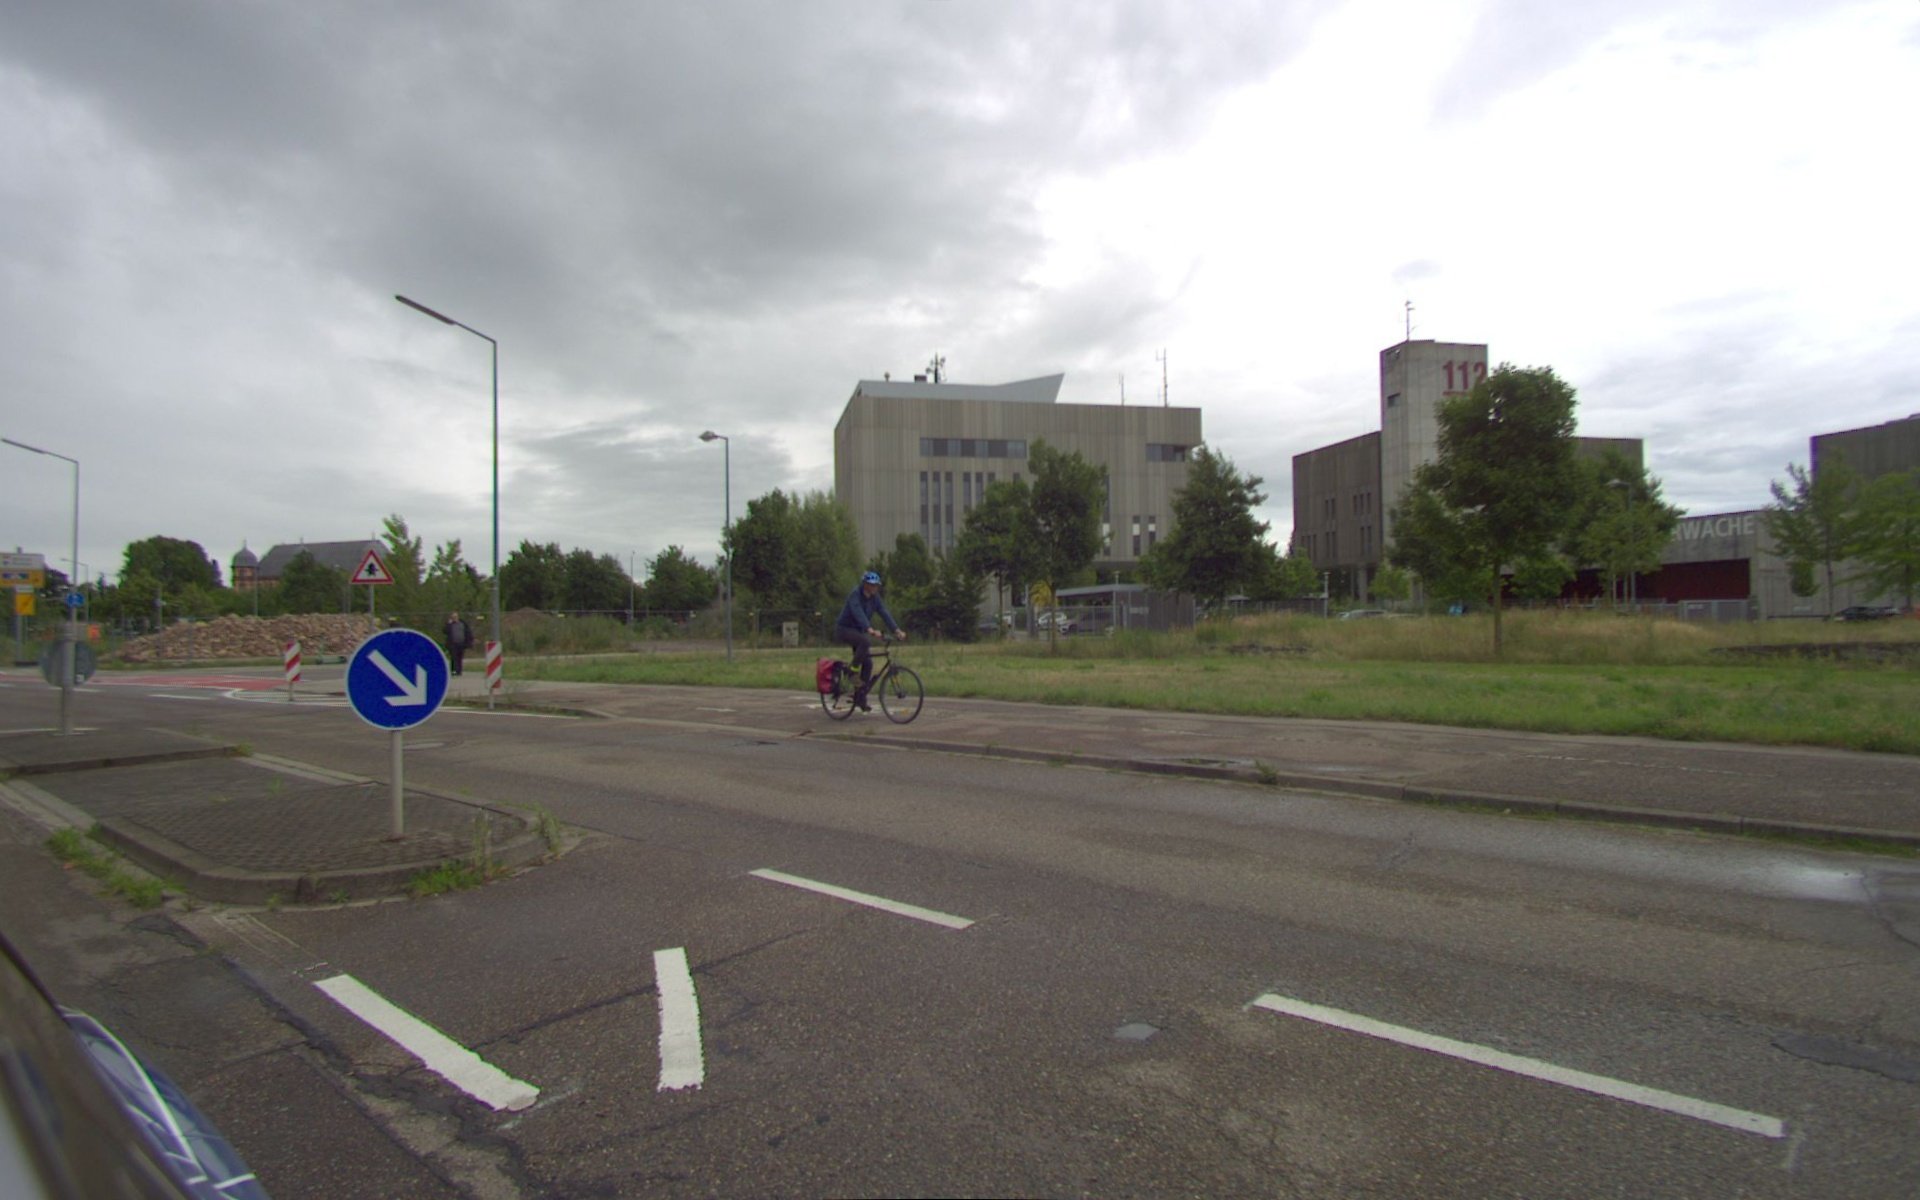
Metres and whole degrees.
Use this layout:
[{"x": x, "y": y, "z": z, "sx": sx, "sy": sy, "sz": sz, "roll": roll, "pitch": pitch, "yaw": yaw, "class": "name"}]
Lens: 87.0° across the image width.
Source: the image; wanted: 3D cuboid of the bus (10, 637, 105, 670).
[{"x": -109.444, "y": 6.488, "z": 122.889, "sx": 8.257, "sy": 3.676, "sz": 2.742, "roll": -2, "pitch": -2, "yaw": -14, "class": "bus"}]

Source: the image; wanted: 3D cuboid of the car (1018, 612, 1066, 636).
[{"x": 6.666, "y": 1.959, "z": 82.236, "sx": 3.421, "sy": 1.775, "sz": 1.732, "roll": -1, "pitch": -1, "yaw": -13, "class": "car"}]

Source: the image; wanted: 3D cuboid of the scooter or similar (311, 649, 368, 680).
[{"x": -25.393, "y": 2.646, "z": 41.443, "sx": 1.873, "sy": 1.151, "sz": 0.658, "roll": -2, "pitch": -1, "yaw": -8, "class": "scooter or similar"}]

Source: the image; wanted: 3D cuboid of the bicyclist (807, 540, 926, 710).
[{"x": -1.186, "y": 0.330, "z": 12.763, "sx": 1.176, "sy": 2.029, "sz": 0.853, "roll": -4, "pitch": -3, "yaw": 39, "class": "bicyclist"}]

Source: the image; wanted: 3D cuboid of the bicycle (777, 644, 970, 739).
[{"x": -1.128, "y": 1.126, "z": 12.710, "sx": 2.465, "sy": 1.060, "sz": 0.875, "roll": -4, "pitch": -3, "yaw": 38, "class": "bicycle"}]

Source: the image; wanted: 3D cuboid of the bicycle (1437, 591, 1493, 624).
[{"x": 26.431, "y": 0.399, "z": 52.965, "sx": 2.458, "sy": 1.596, "sz": 1.089, "roll": -2, "pitch": -2, "yaw": -14, "class": "bicycle"}]

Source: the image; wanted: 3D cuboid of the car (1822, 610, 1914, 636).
[{"x": 59.790, "y": 1.539, "z": 66.733, "sx": 1.966, "sy": 1.535, "sz": 4.012, "roll": 0, "pitch": -3, "yaw": -18, "class": "car"}]

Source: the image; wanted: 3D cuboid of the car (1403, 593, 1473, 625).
[{"x": 32.859, "y": 0.626, "z": 69.642, "sx": 3.931, "sy": 2.029, "sz": 2.006, "roll": -1, "pitch": -2, "yaw": -18, "class": "car"}]

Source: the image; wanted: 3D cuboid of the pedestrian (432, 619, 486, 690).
[{"x": -12.927, "y": 1.406, "z": 26.095, "sx": 1.075, "sy": 1.796, "sz": 0.836, "roll": -4, "pitch": -3, "yaw": 37, "class": "pedestrian"}]

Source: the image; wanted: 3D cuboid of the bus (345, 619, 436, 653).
[{"x": -72.718, "y": 4.608, "z": 129.349, "sx": 9.729, "sy": 4.012, "sz": 2.740, "roll": -2, "pitch": -2, "yaw": -10, "class": "bus"}]

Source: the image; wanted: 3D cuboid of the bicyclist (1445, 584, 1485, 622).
[{"x": 26.436, "y": 0.172, "z": 52.970, "sx": 1.379, "sy": 1.914, "sz": 1.080, "roll": -1, "pitch": -2, "yaw": -15, "class": "bicyclist"}]

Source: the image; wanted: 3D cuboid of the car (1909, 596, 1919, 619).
[{"x": 67.248, "y": 0.451, "z": 68.428, "sx": 1.779, "sy": 1.535, "sz": 4.012, "roll": 0, "pitch": -3, "yaw": -19, "class": "car"}]

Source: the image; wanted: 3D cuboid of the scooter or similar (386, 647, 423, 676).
[{"x": -23.482, "y": 2.596, "z": 42.826, "sx": 1.315, "sy": 1.151, "sz": 0.413, "roll": -1, "pitch": 0, "yaw": -24, "class": "scooter or similar"}]
